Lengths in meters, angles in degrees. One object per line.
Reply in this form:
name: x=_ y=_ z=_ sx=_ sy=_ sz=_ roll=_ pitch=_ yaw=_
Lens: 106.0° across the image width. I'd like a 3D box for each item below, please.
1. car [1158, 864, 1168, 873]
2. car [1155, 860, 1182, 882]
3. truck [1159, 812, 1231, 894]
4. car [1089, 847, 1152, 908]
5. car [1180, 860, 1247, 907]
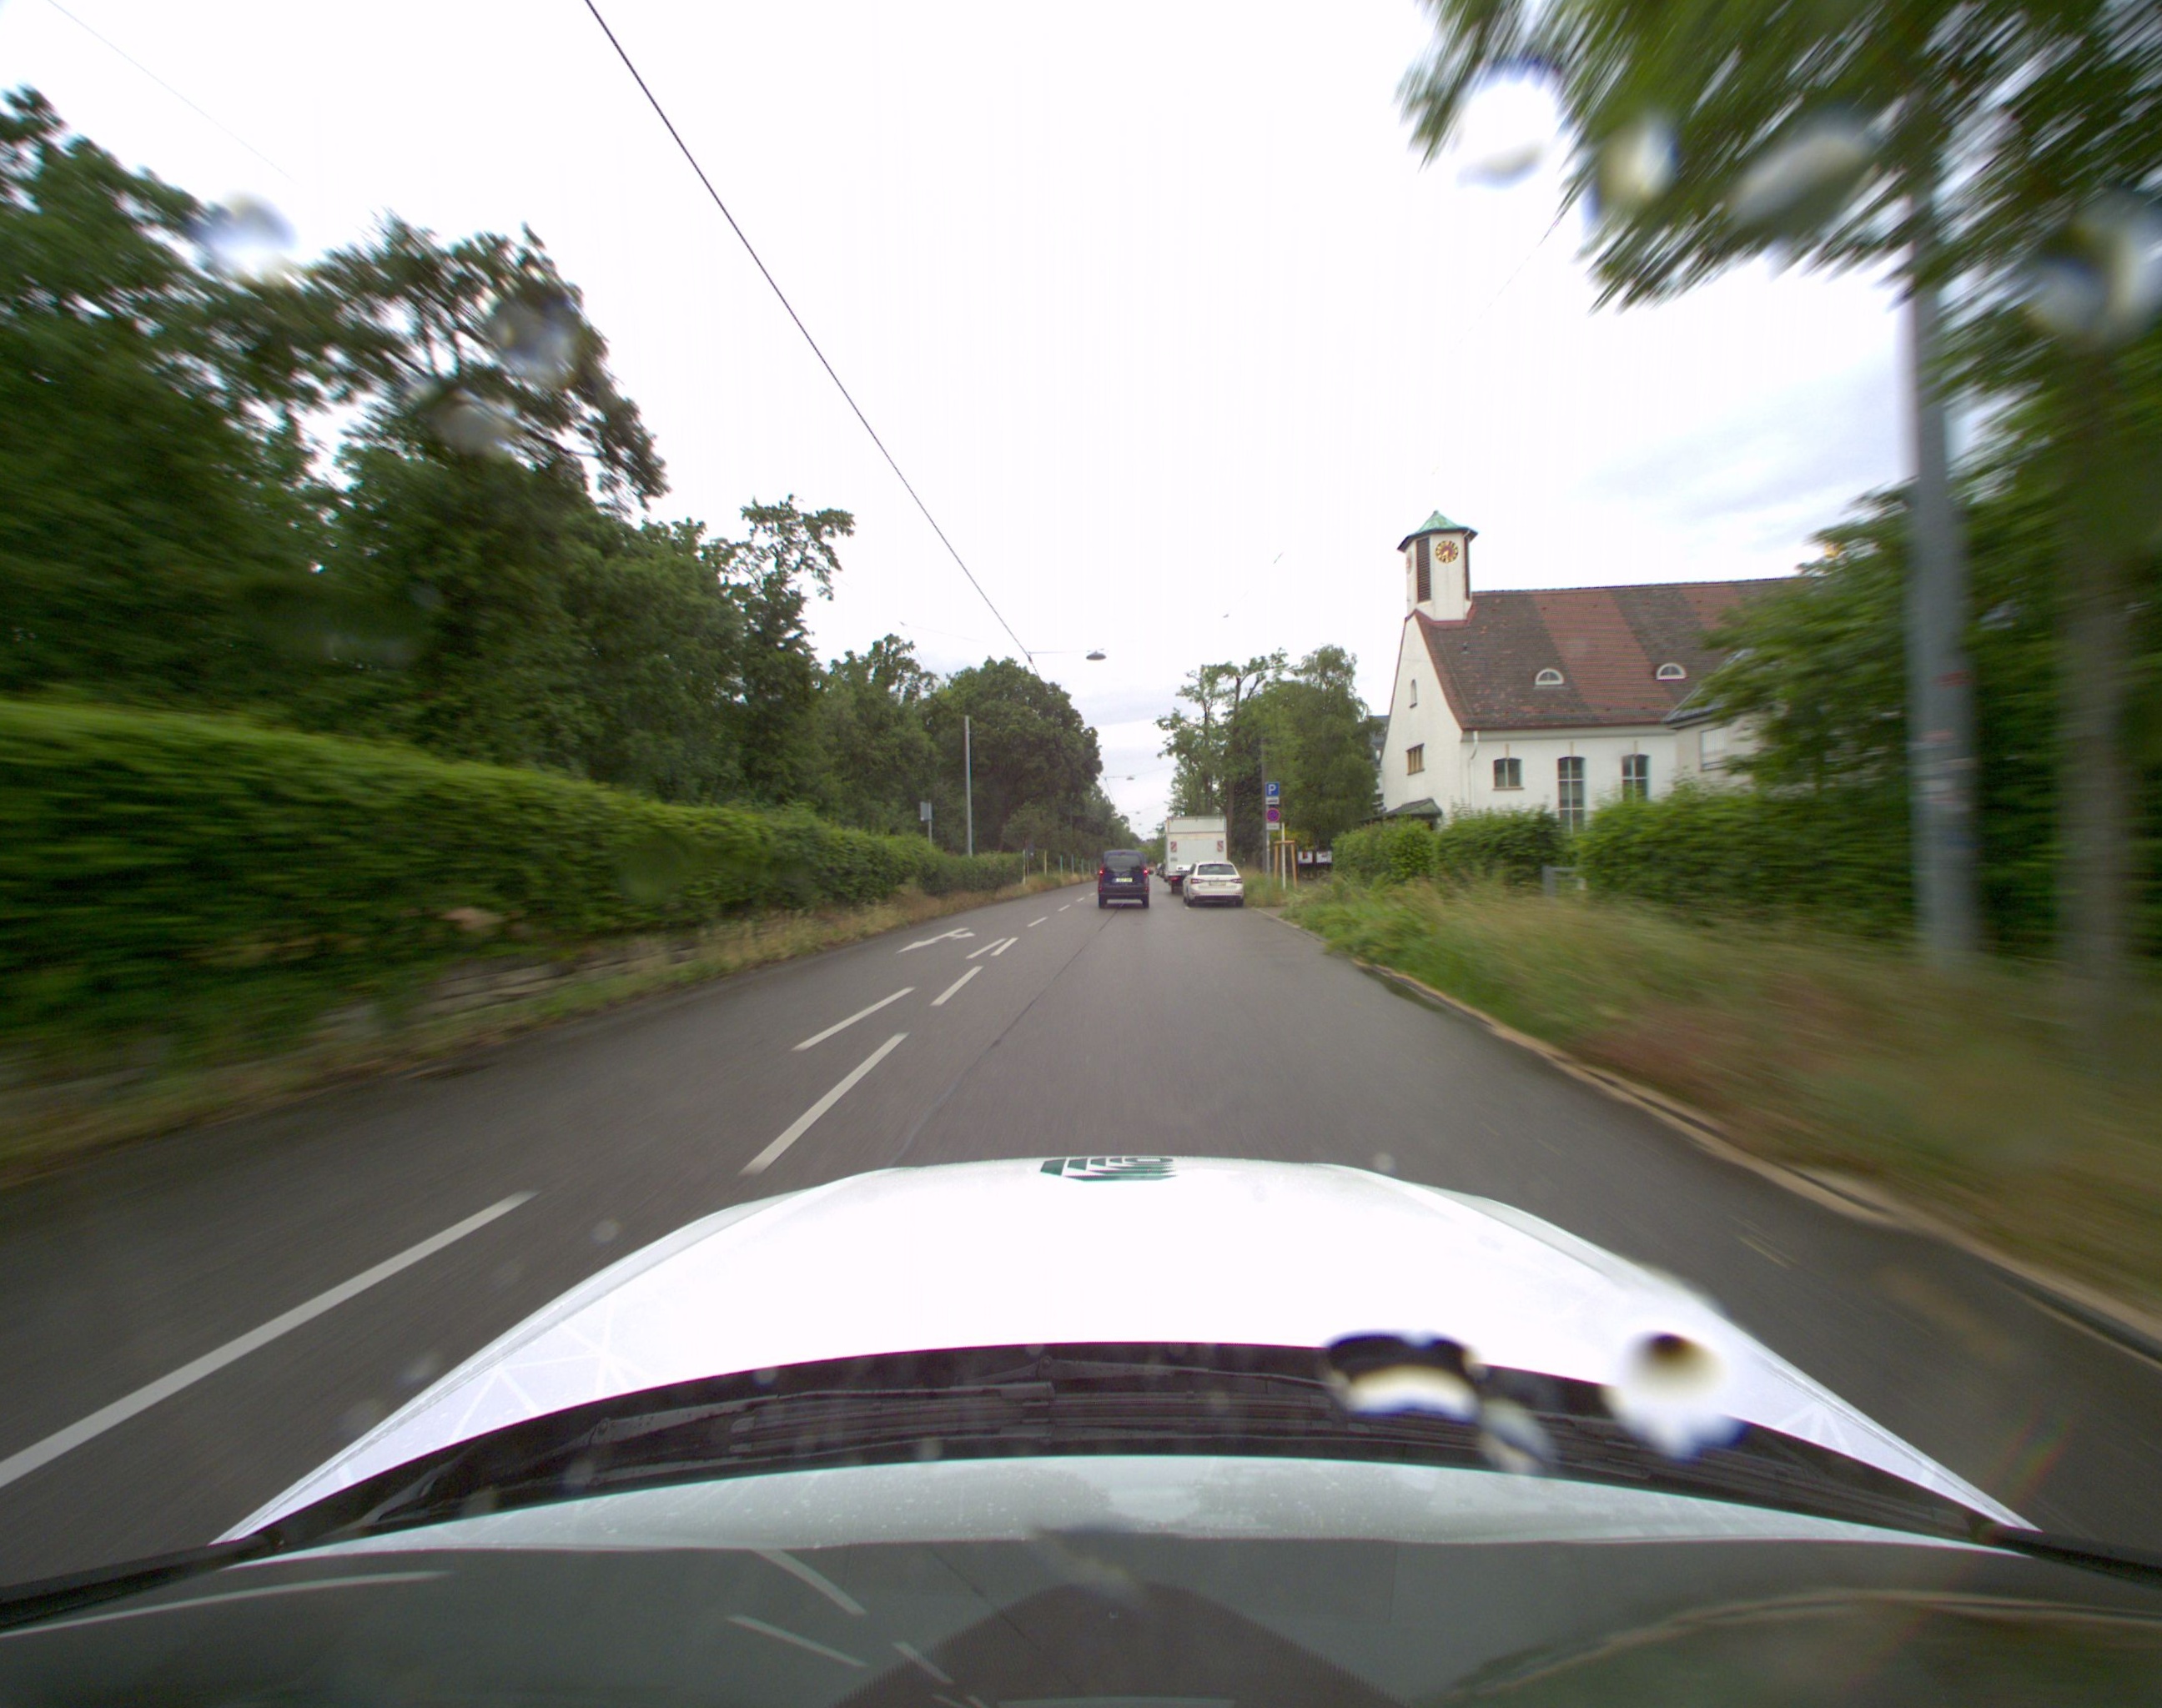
car: x=16.749 y=2.929 z=166.540 sx=1.984 sy=1.585 sz=4.005 roll=-2 pitch=0 yaw=5
car: x=7.107 y=1.364 z=66.458 sx=1.984 sy=1.585 sz=4.005 roll=-2 pitch=0 yaw=5
truck: x=5.204 y=-0.028 z=38.175 sx=2.720 sy=3.387 sz=6.691 roll=-2 pitch=0 yaw=4
car: x=1.241 y=0.742 z=27.094 sx=1.803 sy=1.797 sz=3.998 roll=-2 pitch=0 yaw=-1
car: x=4.376 y=0.923 z=27.435 sx=1.805 sy=1.380 sz=4.290 roll=-2 pitch=0 yaw=4
